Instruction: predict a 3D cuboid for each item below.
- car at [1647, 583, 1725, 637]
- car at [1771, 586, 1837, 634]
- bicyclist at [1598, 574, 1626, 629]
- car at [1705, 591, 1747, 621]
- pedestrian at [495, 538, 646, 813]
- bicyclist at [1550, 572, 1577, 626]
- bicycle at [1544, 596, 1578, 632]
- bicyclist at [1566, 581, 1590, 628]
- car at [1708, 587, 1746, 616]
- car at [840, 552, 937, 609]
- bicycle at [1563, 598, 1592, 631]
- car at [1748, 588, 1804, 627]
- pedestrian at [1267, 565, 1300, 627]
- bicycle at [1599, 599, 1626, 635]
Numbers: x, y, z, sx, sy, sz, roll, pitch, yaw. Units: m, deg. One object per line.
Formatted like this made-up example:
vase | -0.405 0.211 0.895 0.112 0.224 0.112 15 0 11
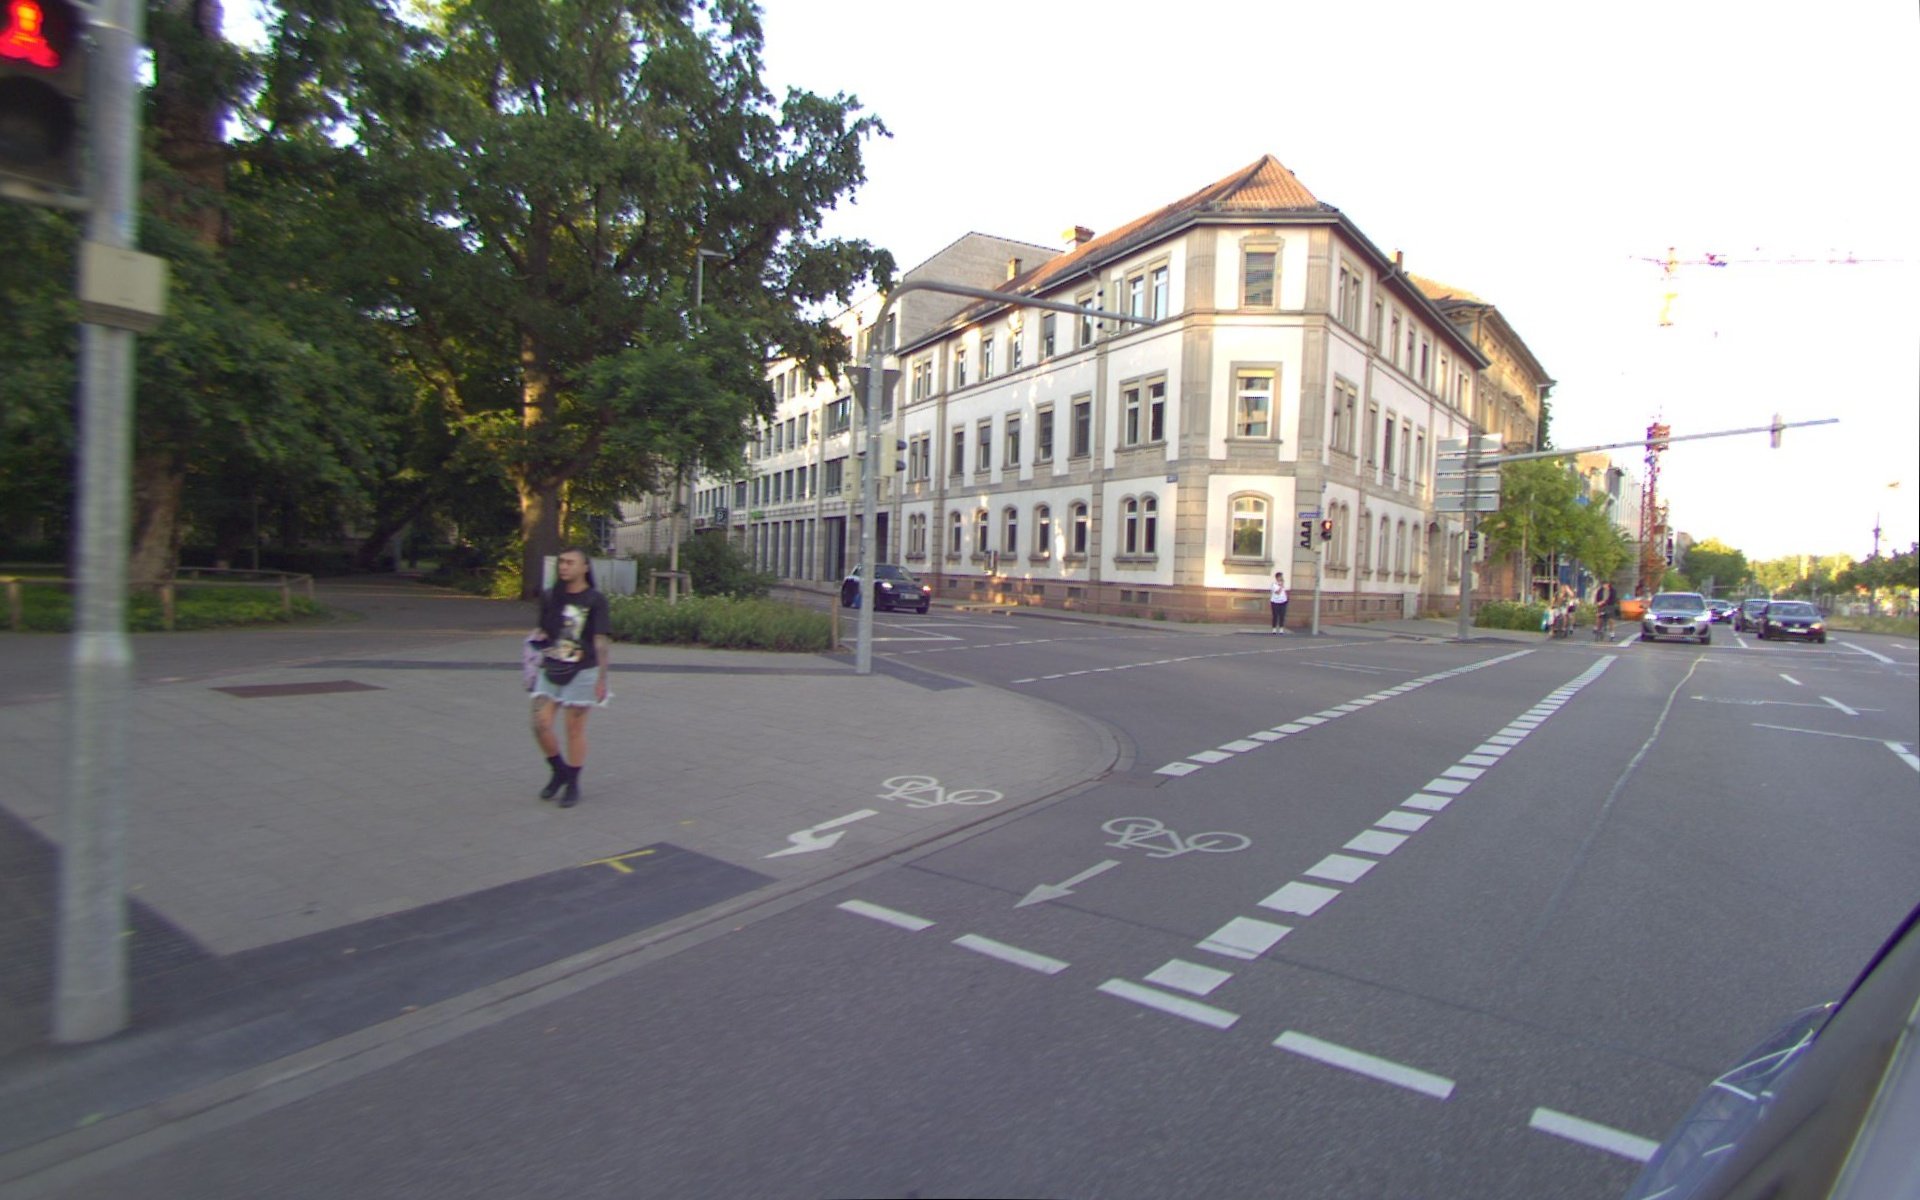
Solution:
car | 23.761 0.293 33.055 1.826 1.617 4.200 3 2 38
car | 30.854 0.338 37.075 1.695 1.617 4.200 2 2 38
bicyclist | 20.882 0.027 32.406 0.701 1.722 0.759 1 2 34
car | 45.790 0.323 60.479 1.872 1.682 3.709 3 2 38
pedestrian | -2.342 0.413 6.080 0.579 1.522 0.609 6 4 43
bicyclist | 19.845 -0.033 33.267 0.508 1.721 0.757 7 6 41
bicycle | 19.742 0.455 33.220 0.527 1.063 2.018 7 6 40
bicyclist | 21.195 0.149 34.718 0.510 1.567 0.682 5 3 40
car | 45.710 0.101 60.262 1.695 1.617 3.835 2 2 38
car | -2.264 -0.647 31.042 1.791 1.535 3.584 4 1 -24
bicycle | 21.294 0.474 34.871 0.515 1.064 2.014 5 3 40
car | 37.198 0.307 46.178 1.853 1.617 4.200 3 2 38
pedestrian | 9.016 -0.110 28.226 0.808 1.677 0.633 3 2 19
bicycle | 20.849 0.533 32.353 0.716 1.064 2.020 1 1 33
